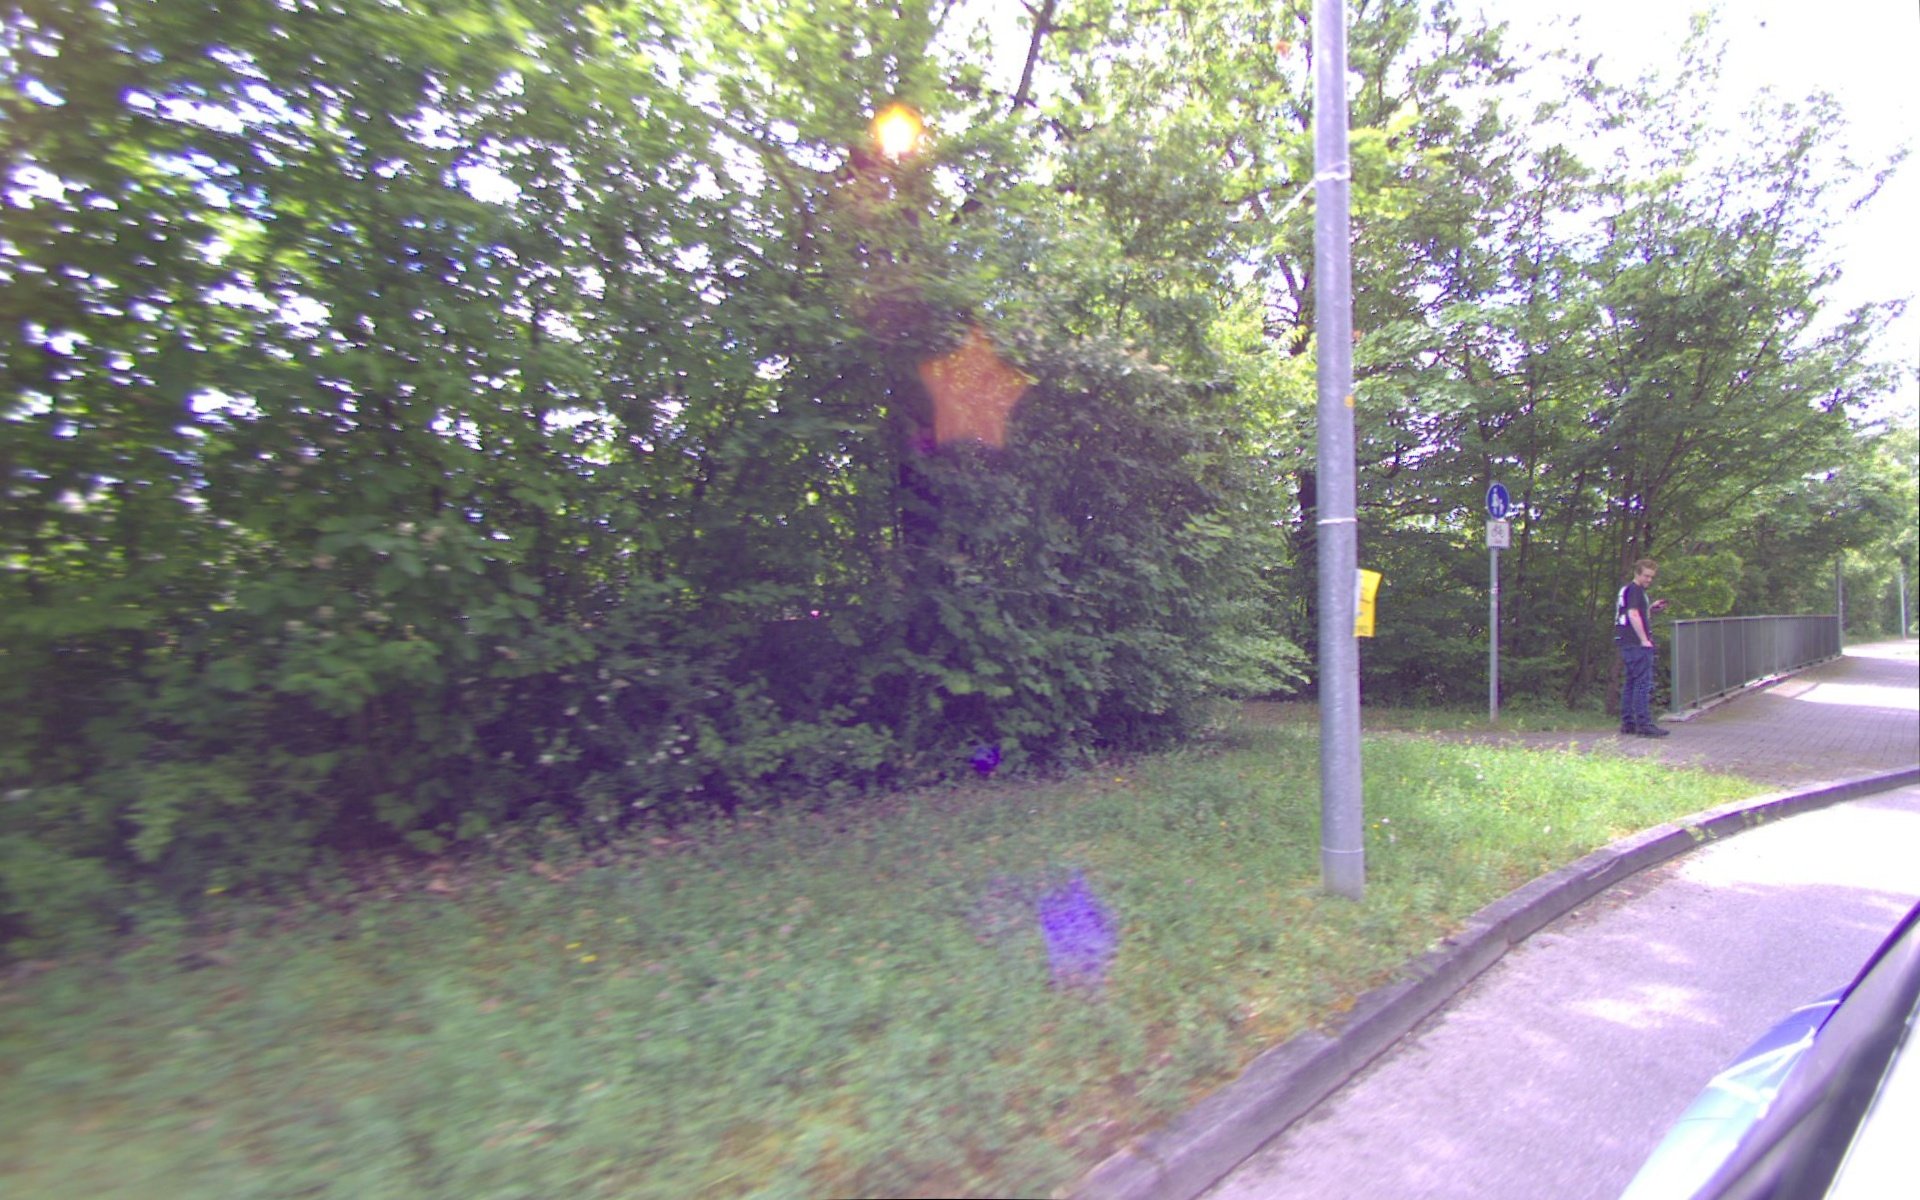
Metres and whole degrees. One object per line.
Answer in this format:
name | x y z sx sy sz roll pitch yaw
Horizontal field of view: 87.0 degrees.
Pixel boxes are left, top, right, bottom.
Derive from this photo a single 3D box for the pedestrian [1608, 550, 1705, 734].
pedestrian | 7.160 0.405 10.410 0.578 1.805 0.682 0 0 -39
